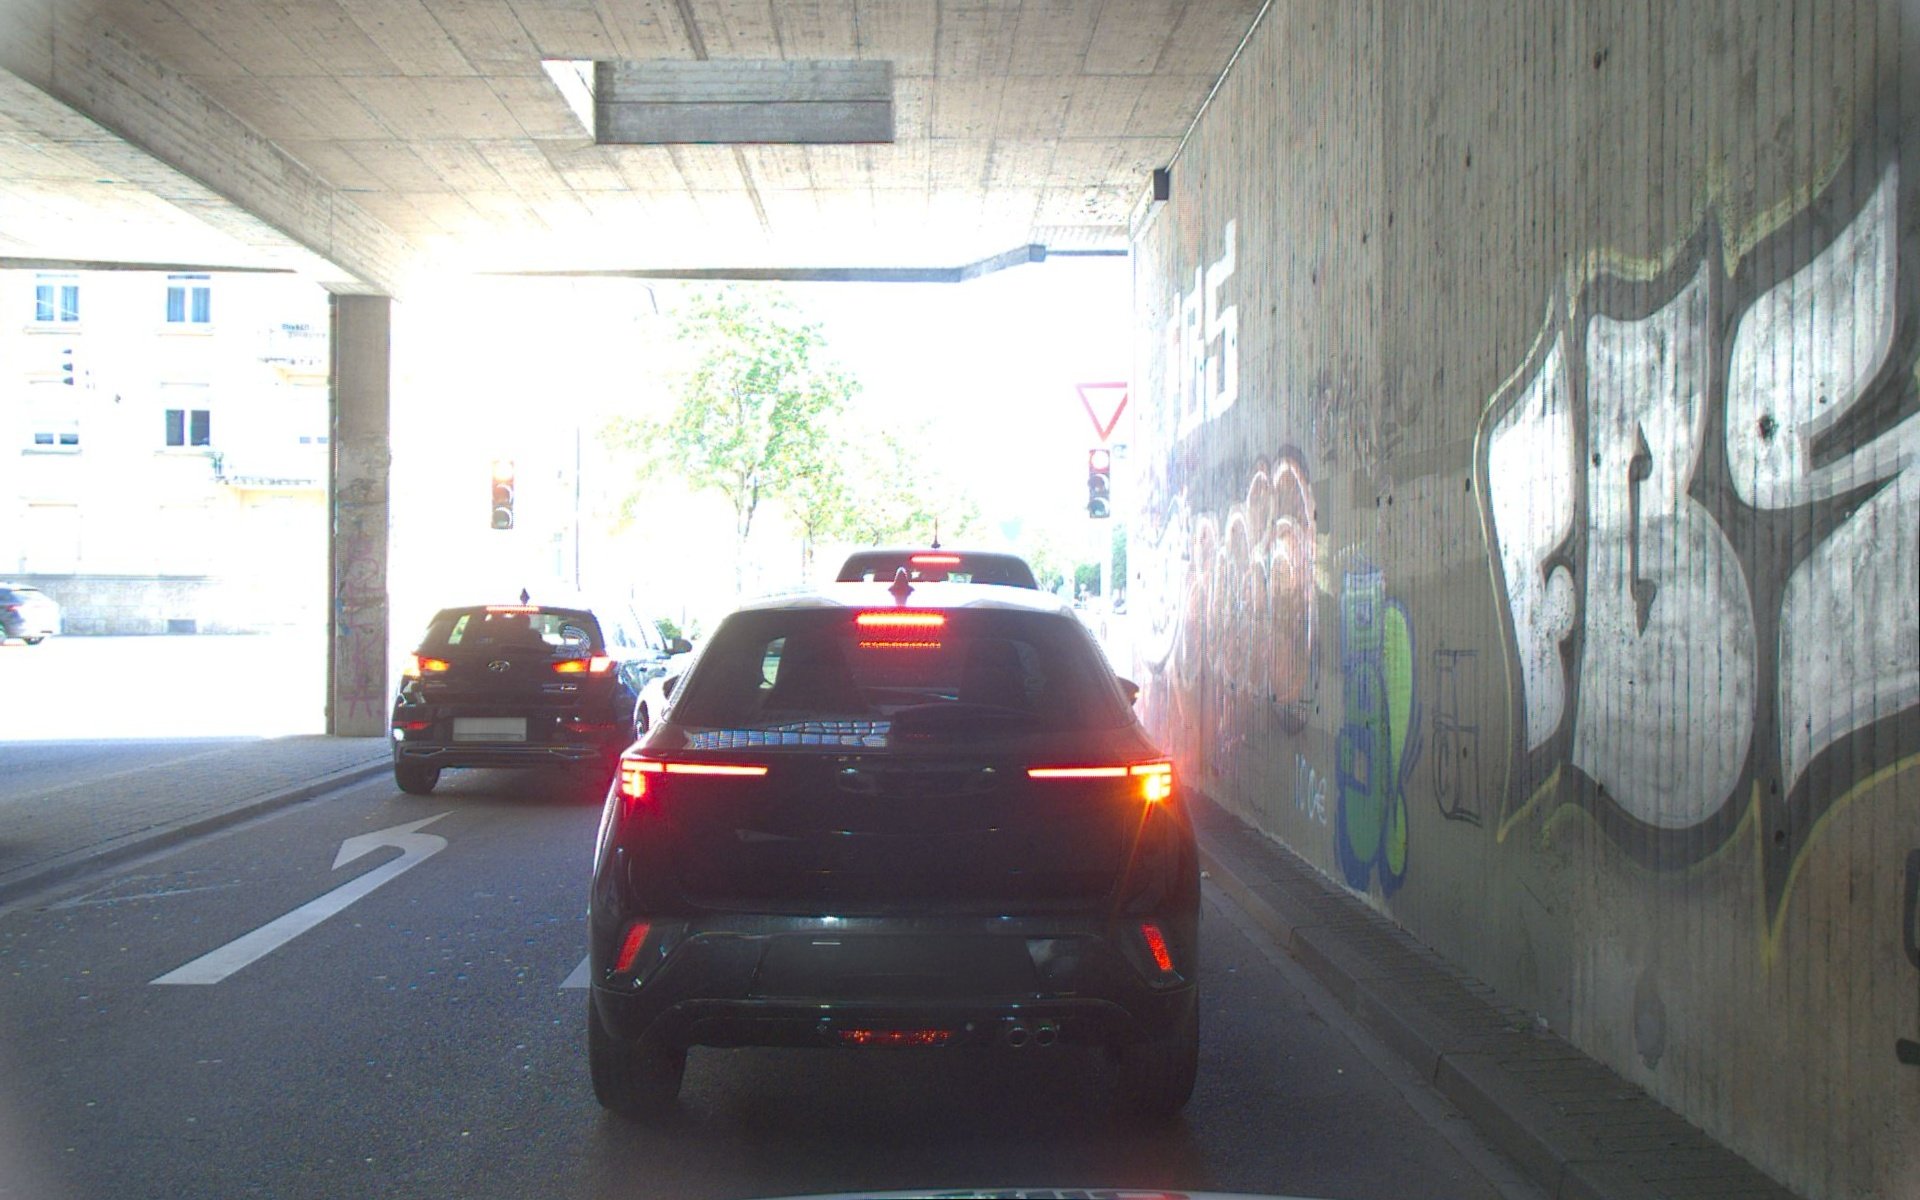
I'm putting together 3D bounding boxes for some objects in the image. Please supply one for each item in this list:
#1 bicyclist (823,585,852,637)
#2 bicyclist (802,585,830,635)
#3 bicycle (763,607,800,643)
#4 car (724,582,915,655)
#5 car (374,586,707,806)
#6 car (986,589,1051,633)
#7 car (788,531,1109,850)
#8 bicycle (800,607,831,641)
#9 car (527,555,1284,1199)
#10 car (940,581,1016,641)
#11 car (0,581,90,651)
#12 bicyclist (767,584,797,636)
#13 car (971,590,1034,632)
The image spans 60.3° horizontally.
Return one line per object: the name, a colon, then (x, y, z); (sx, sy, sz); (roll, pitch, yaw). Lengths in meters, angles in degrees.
bicyclist: (-3.832, 0.335, 51.932); (0.713, 1.609, 0.815); (1, -1, 9)
bicyclist: (-4.728, 0.330, 54.344); (0.713, 1.609, 0.815); (1, -1, 9)
bicycle: (-5.553, 0.770, 51.398); (0.716, 1.086, 1.690); (1, 0, 9)
car: (-3.104, 0.402, 37.066); (3.902, 1.579, 2.002); (0, 0, 8)
car: (-3.189, 0.648, 13.422); (1.744, 1.472, 4.177); (1, 0, -2)
car: (2.473, 0.477, 69.013); (2.173, 1.749, 4.463); (0, -1, 9)
car: (-0.097, 0.529, 11.860); (1.906, 1.892, 3.963); (0, 0, -1)
bicycle: (-4.733, 0.782, 54.391); (0.612, 1.086, 1.690); (1, 0, 9)
car: (-0.157, 0.668, 6.035); (1.844, 1.565, 3.963); (0, 0, -1)
car: (0.499, 0.331, 44.154); (1.927, 1.523, 3.896); (0, -1, 1)
car: (-22.721, 0.361, 38.200); (4.293, 1.579, 1.884); (0, 0, 4)
bicyclist: (-5.535, 0.305, 51.431); (0.713, 1.609, 0.815); (1, -1, 9)
car: (1.626, 0.435, 62.191); (1.926, 1.523, 3.899); (0, -1, 8)
